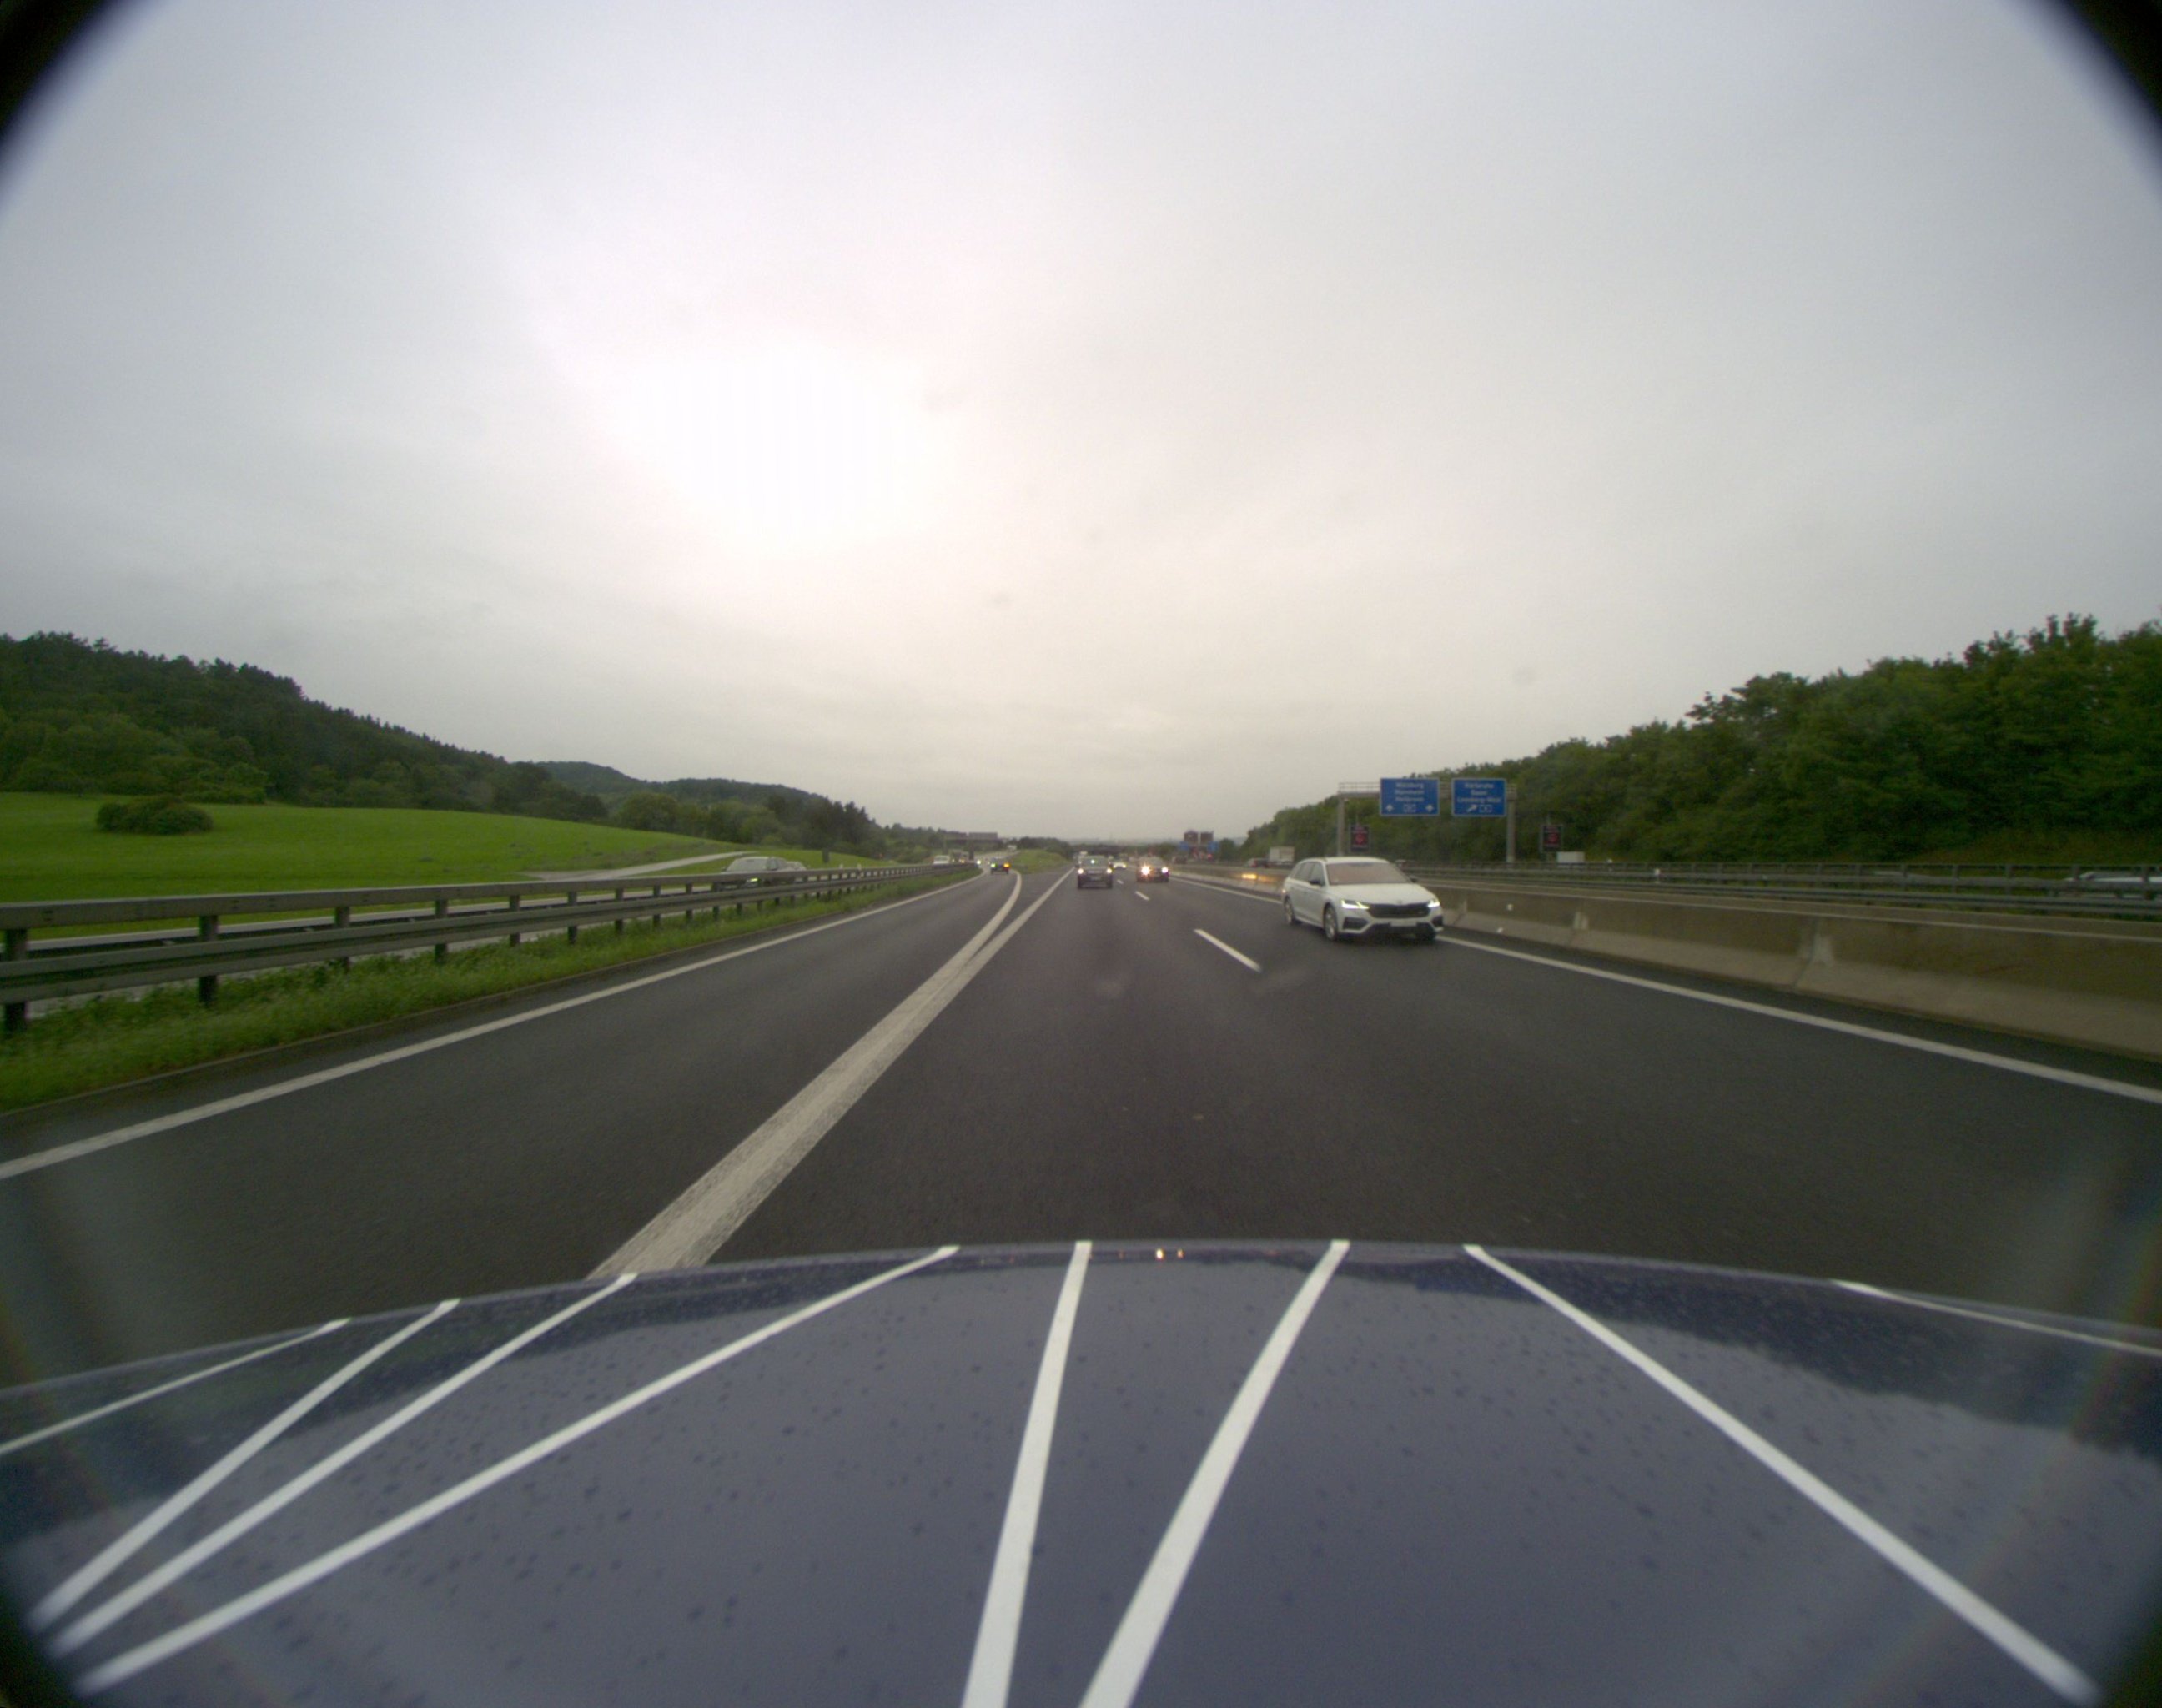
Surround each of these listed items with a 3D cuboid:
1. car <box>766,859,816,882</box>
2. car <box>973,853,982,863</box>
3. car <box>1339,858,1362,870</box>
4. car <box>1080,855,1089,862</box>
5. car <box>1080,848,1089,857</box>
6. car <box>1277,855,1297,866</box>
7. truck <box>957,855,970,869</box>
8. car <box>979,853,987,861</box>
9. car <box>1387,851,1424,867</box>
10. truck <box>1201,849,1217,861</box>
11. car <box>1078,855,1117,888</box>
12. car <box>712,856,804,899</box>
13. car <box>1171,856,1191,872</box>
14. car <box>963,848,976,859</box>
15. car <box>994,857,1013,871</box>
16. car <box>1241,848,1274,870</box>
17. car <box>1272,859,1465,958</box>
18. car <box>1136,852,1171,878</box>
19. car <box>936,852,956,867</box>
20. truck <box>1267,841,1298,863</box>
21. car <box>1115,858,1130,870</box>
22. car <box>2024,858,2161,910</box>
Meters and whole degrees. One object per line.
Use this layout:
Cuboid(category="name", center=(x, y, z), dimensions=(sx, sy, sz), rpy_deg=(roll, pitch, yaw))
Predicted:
Cuboid(category="car", center=(-20.531, 1.117, 53.973), dimensions=(1.904, 1.446, 4.708), rpy_deg=(-1, 0, -3))
Cuboid(category="car", center=(-21.777, 0.808, 160.033), dimensions=(1.828, 2.012, 3.997), rpy_deg=(-2, 1, -6))
Cuboid(category="car", center=(36.668, 1.313, 103.589), dimensions=(1.680, 1.448, 4.000), rpy_deg=(-1, 1, 0))
Cuboid(category="car", center=(0.791, 0.926, 169.929), dimensions=(1.919, 1.481, 4.566), rpy_deg=(-1, 0, -1))
Cuboid(category="car", center=(0.730, -0.406, 176.134), dimensions=(2.016, 1.994, 4.566), rpy_deg=(-1, 1, -1))
Cuboid(category="car", center=(29.310, 0.902, 108.184), dimensions=(1.680, 1.448, 4.632), rpy_deg=(-1, 0, 0))
Cuboid(category="truck", center=(-33.950, 2.319, 219.506), dimensions=(2.799, 3.878, 10.023), rpy_deg=(-2, 1, -4))
Cuboid(category="car", center=(-23.462, 0.682, 182.034), dimensions=(1.828, 2.012, 3.997), rpy_deg=(-2, 1, -6))
Cuboid(category="car", center=(33.046, 0.493, 77.530), dimensions=(1.823, 1.484, 4.474), rpy_deg=(-1, 1, -1))
Cuboid(category="truck", center=(33.895, 0.267, 201.211), dimensions=(2.858, 3.202, 9.078), rpy_deg=(-1, 1, 1))
Cuboid(category="car", center=(0.810, 0.869, 39.324), dimensions=(1.813, 1.571, 3.834), rpy_deg=(-1, 1, -1))
Cuboid(category="car", center=(-11.716, 0.805, 27.849), dimensions=(1.671, 1.374, 4.125), rpy_deg=(-1, 1, -2))
Cuboid(category="car", center=(13.480, 1.330, 102.662), dimensions=(1.998, 2.002, 4.982), rpy_deg=(-1, 1, 0))
Cuboid(category="car", center=(-20.552, -0.052, 140.683), dimensions=(2.131, 2.002, 5.074), rpy_deg=(-2, 1, -6))
Cuboid(category="car", center=(-8.261, 1.047, 80.853), dimensions=(1.868, 1.349, 4.564), rpy_deg=(-2, 0, -7))
Cuboid(category="car", center=(17.139, 0.439, 74.012), dimensions=(1.998, 2.002, 4.982), rpy_deg=(-1, 1, 0))
Cuboid(category="car", center=(5.118, 0.868, 14.319), dimensions=(1.823, 1.448, 4.777), rpy_deg=(-1, 0, 0))
Cuboid(category="car", center=(4.477, 0.670, 47.416), dimensions=(1.726, 1.481, 4.566), rpy_deg=(-1, 0, 0))
Cuboid(category="car", center=(-16.732, 0.663, 94.306), dimensions=(1.914, 1.684, 4.716), rpy_deg=(-2, 1, -5))
Cuboid(category="truck", center=(36.289, -0.427, 137.409), dimensions=(3.082, 3.856, 9.634), rpy_deg=(-1, 1, 1))
Cuboid(category="car", center=(5.494, 1.360, 101.017), dimensions=(1.726, 1.481, 4.566), rpy_deg=(-1, 0, 0))
Cuboid(category="car", center=(36.338, 0.987, 26.512), dimensions=(1.823, 1.622, 4.058), rpy_deg=(-1, 1, -1))
